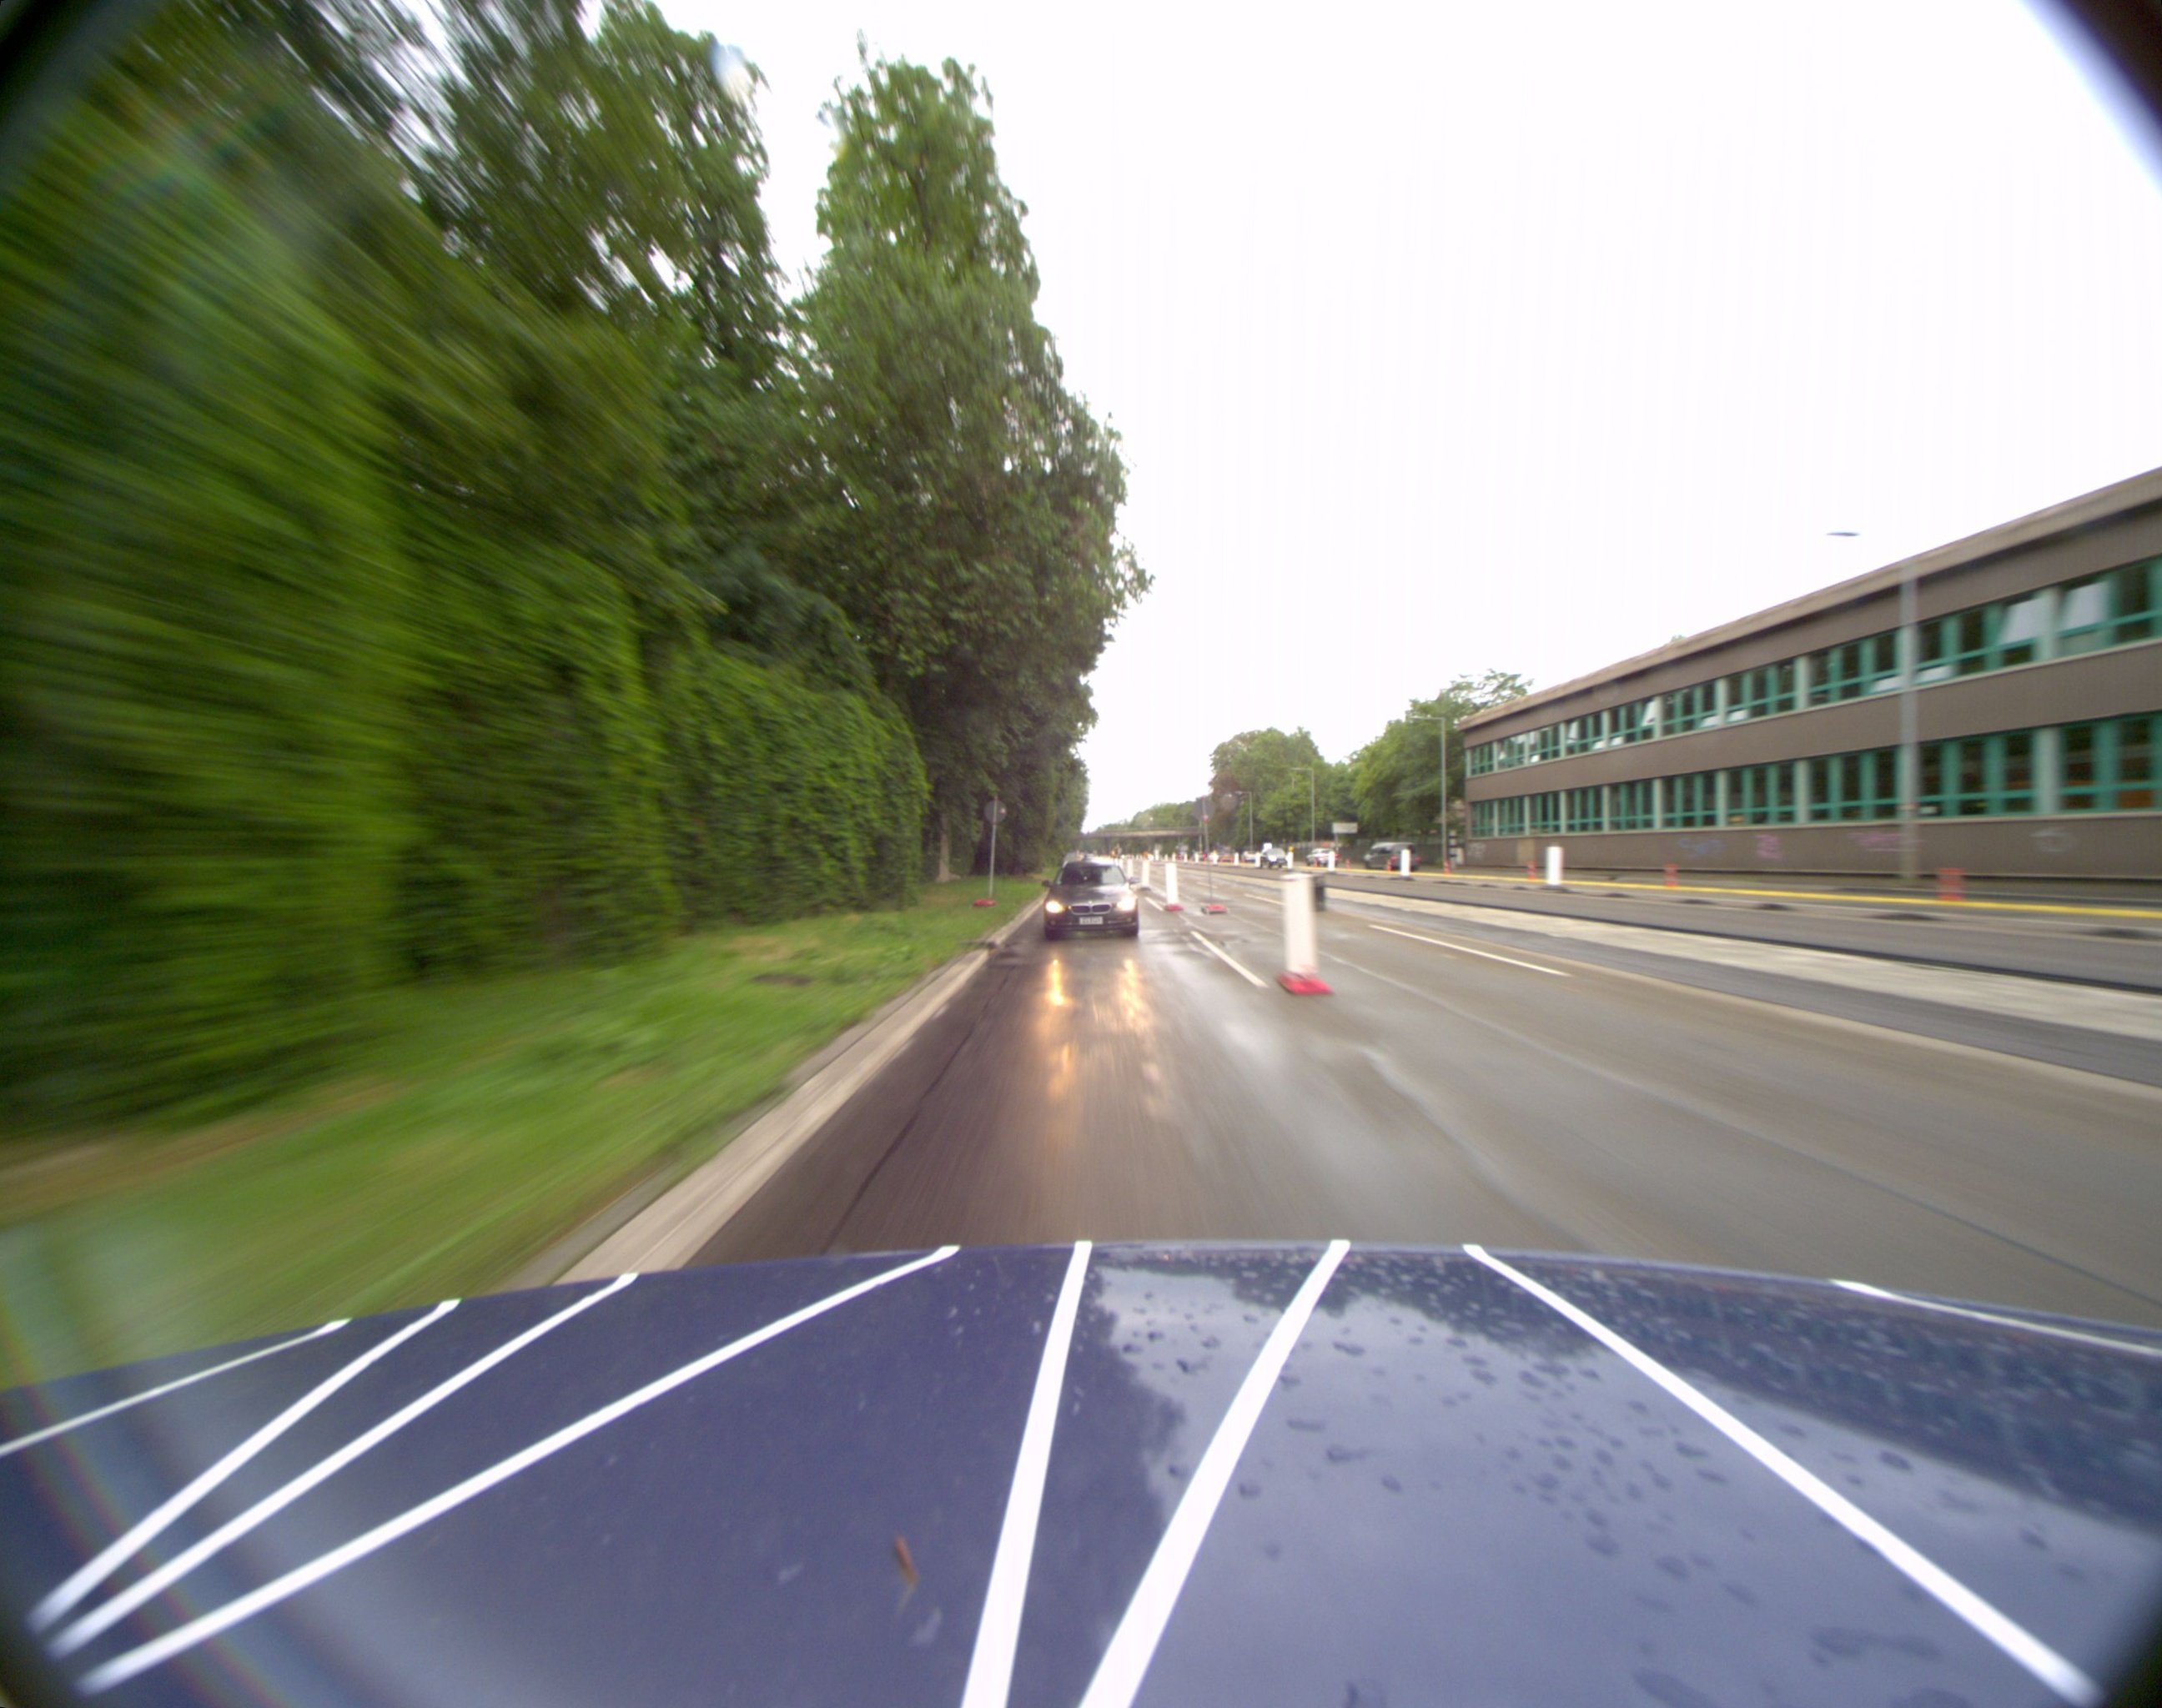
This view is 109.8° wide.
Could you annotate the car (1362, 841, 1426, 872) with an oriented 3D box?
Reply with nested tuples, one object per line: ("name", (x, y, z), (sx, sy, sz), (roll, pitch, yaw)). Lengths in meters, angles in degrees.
("car", (19.476, 0.146, 47.478), (1.998, 1.770, 4.954), (-2, 1, 1))

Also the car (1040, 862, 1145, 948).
("car", (0.182, 0.939, 15.660), (1.838, 1.397, 3.999), (-2, 1, -1))

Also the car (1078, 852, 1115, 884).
("car", (0.886, 0.763, 44.201), (1.998, 1.650, 4.229), (-2, 1, 1))

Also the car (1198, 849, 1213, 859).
("car", (21.517, -0.034, 131.870), (1.993, 1.758, 4.674), (-2, 1, 2))

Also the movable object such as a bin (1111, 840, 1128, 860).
("movable object such as a bin", (9.202, -0.974, 183.259), (3.526, 4.495, 10.069), (-2, 1, 1))

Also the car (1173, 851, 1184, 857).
("car", (23.485, 0.030, 183.610), (1.999, 1.421, 4.265), (-2, 0, 0))

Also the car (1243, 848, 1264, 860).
("car", (23.602, -0.015, 103.979), (1.998, 1.577, 4.179), (-2, 1, 1))

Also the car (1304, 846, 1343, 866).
("car", (22.296, 0.185, 70.137), (1.943, 1.696, 4.935), (-2, 1, 0))

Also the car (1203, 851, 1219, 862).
("car", (19.798, 0.330, 115.973), (1.808, 1.525, 3.991), (-2, 1, 1))
